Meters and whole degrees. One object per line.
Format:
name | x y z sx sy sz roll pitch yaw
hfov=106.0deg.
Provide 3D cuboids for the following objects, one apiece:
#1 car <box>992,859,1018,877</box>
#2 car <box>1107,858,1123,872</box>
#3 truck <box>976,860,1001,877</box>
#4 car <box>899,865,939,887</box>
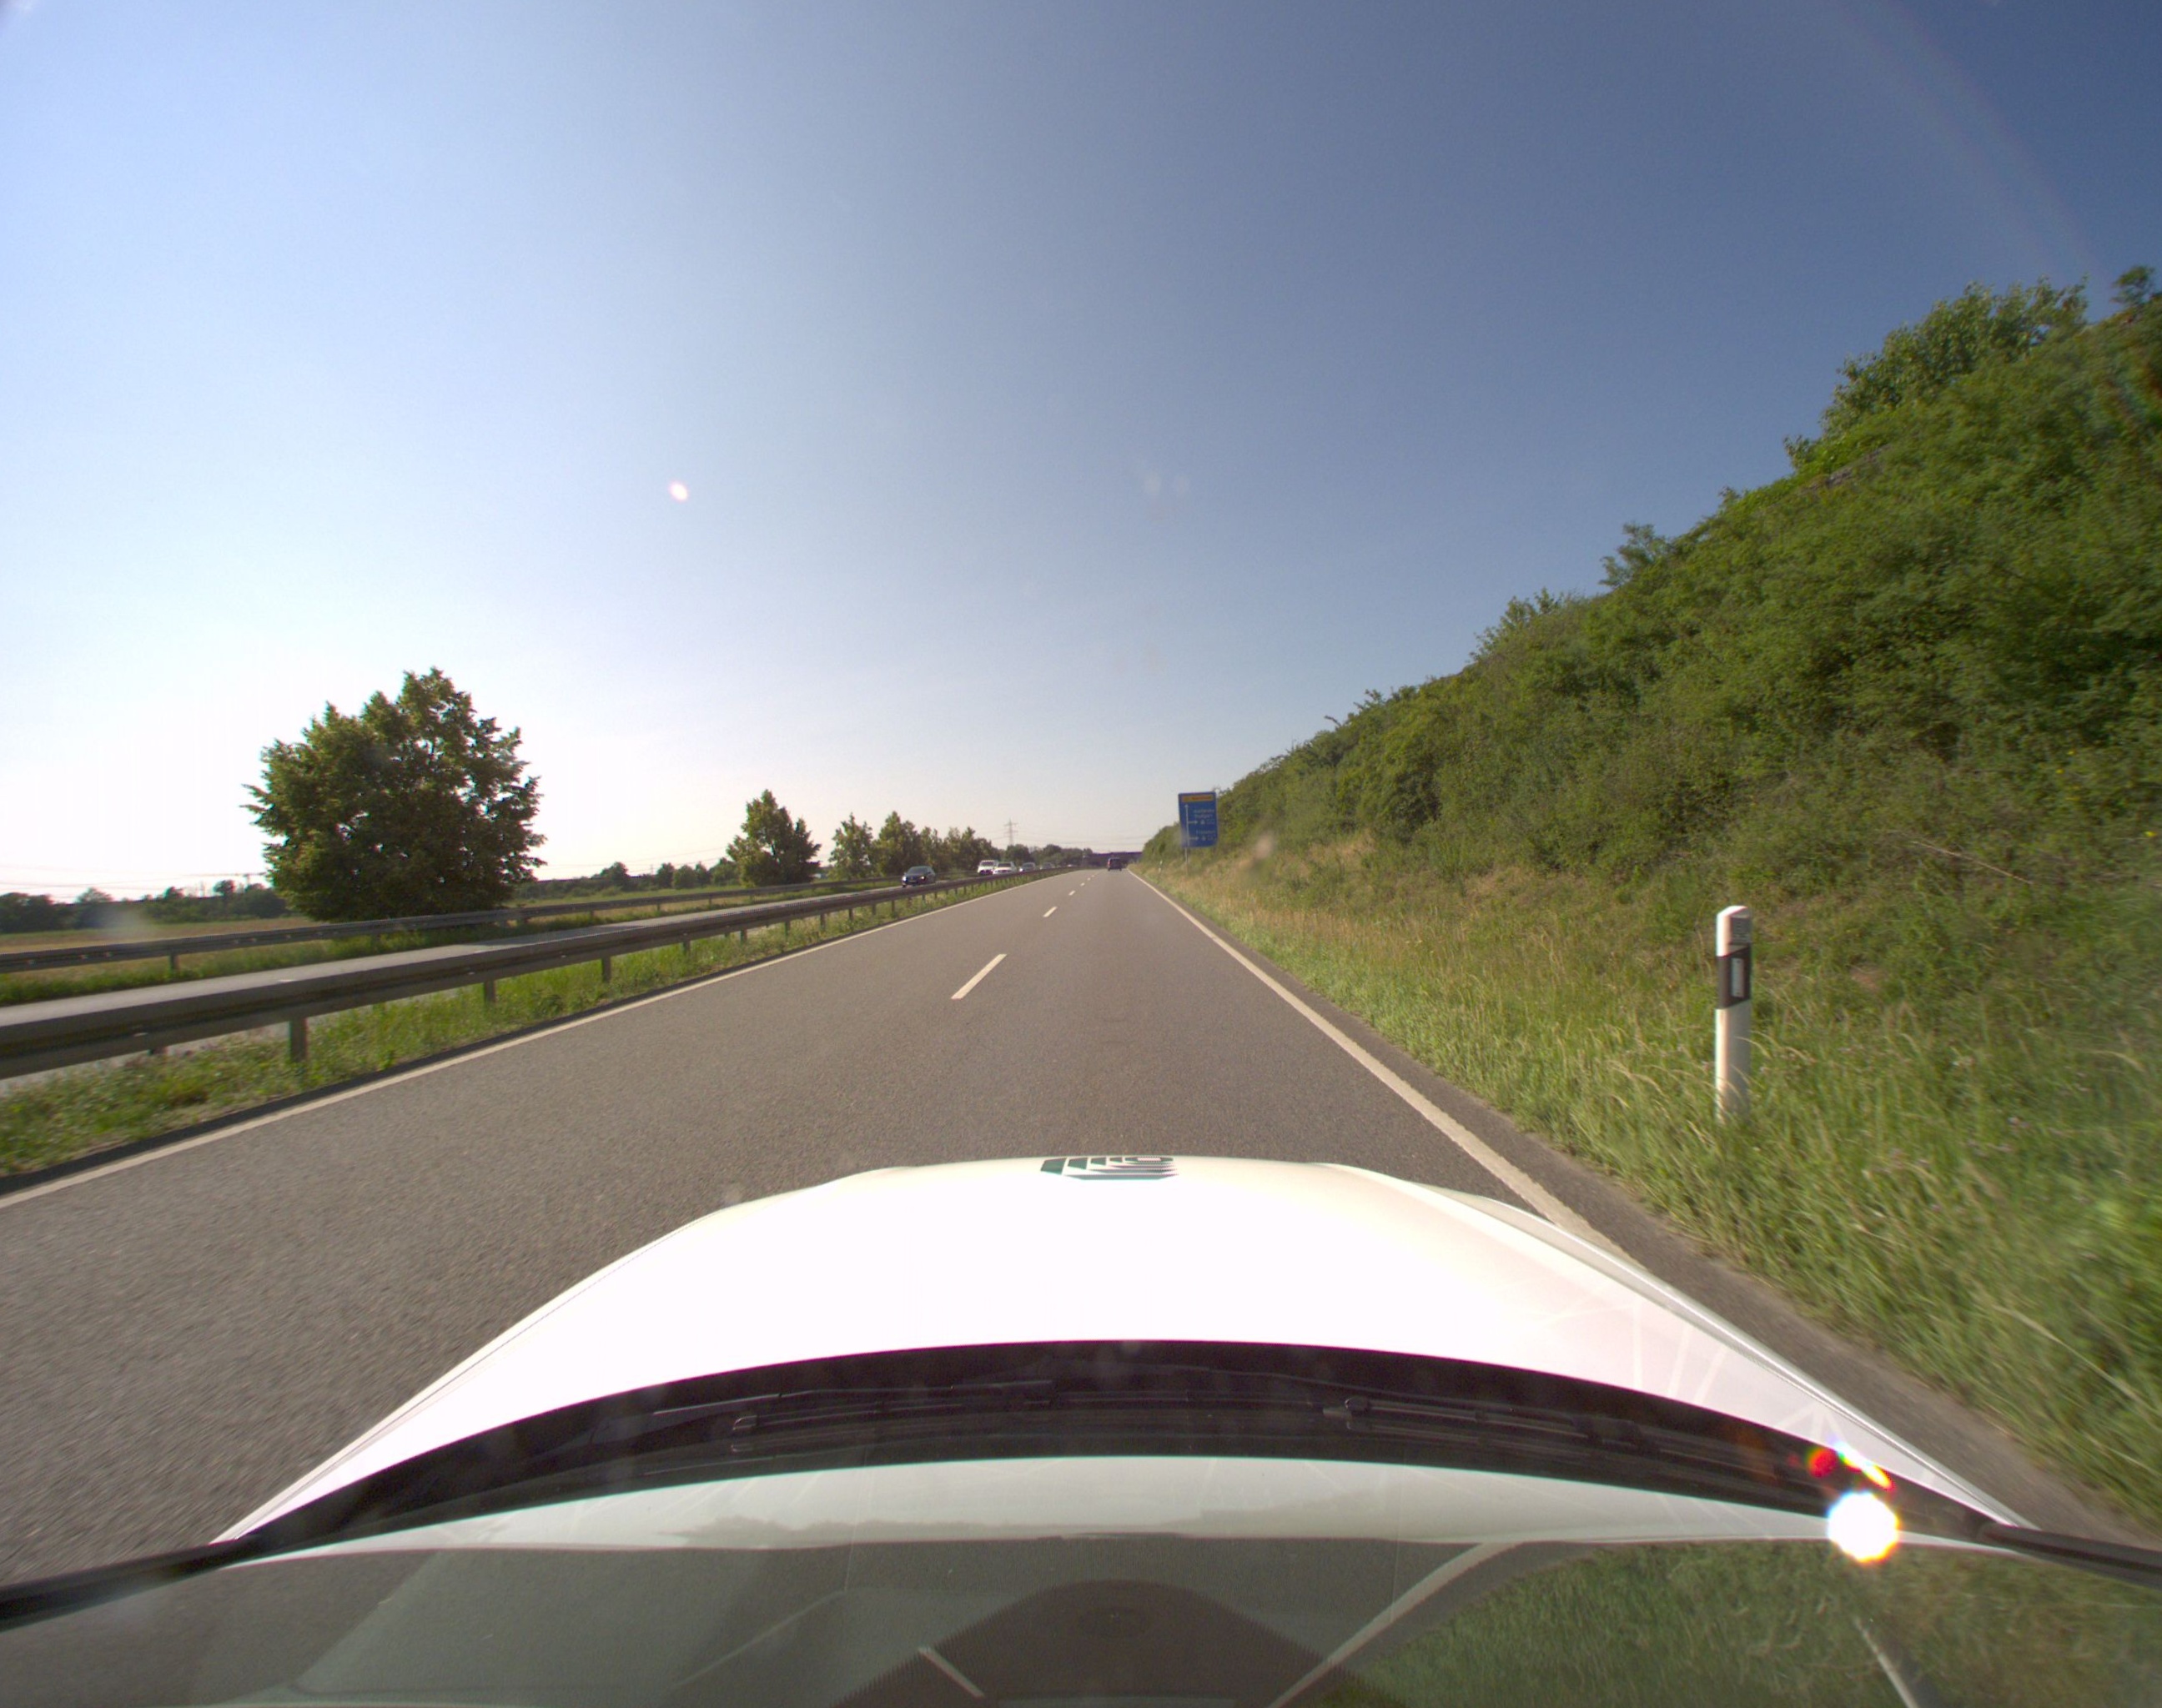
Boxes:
car | -7.295 1.362 78.832 1.832 1.665 4.724 -1 -1 3
car | 4.336 1.393 103.896 1.841 1.644 4.005 -2 -1 5
truck | -10.316 1.591 91.133 1.915 1.840 5.295 -1 0 2
car | -11.783 1.571 59.660 1.832 1.472 4.461 -2 0 2
